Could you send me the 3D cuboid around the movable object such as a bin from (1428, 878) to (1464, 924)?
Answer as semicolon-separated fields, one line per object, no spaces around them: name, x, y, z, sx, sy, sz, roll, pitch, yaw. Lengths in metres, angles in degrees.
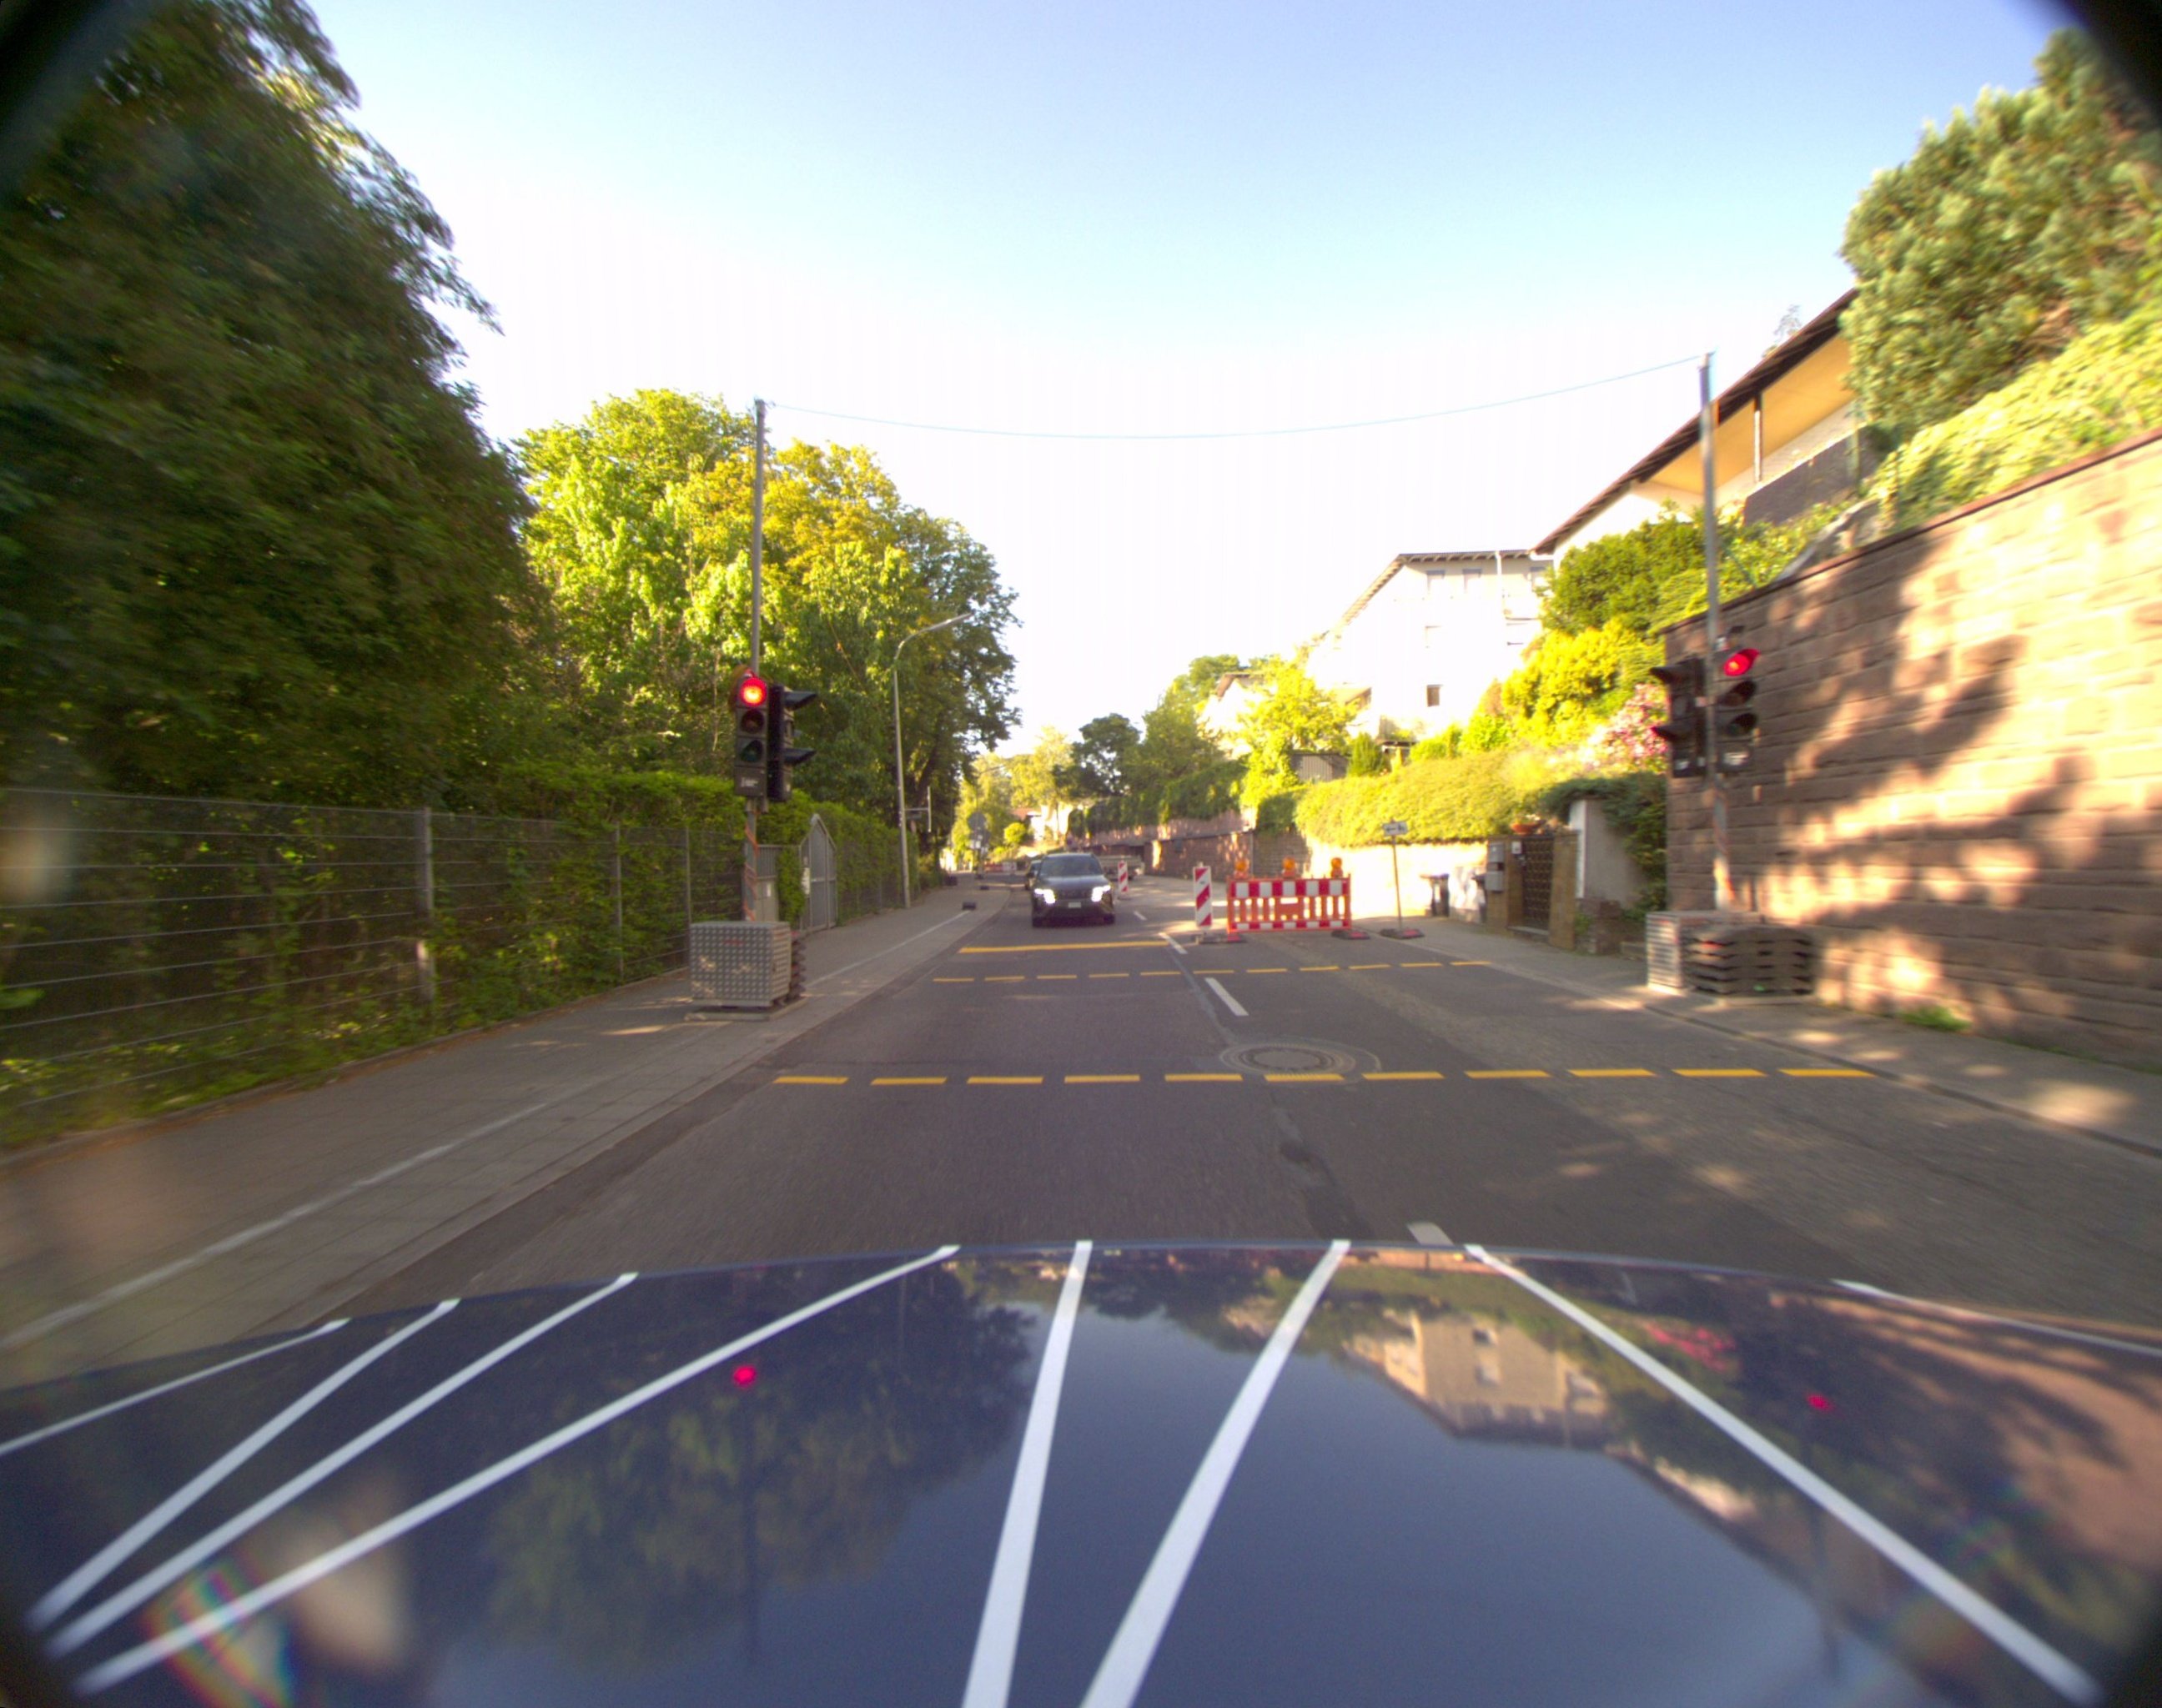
movable object such as a bin;7.381;0.936;15.373;0.457;0.879;0.500;-3;0;0

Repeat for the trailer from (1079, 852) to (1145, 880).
trailer;1.769;0.699;47.192;2.648;1.481;7.112;-3;0;-10

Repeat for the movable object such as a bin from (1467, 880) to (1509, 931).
movable object such as a bin;7.401;0.925;13.832;0.457;0.879;0.500;-3;0;0

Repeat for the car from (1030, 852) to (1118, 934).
car;-0.175;0.834;18.410;1.788;1.639;4.474;-3;0;-1

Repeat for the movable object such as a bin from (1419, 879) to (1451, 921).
movable object such as a bin;7.388;0.955;15.860;0.455;0.829;0.392;-2;1;0

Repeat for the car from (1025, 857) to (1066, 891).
car;-1.787;0.928;37.065;1.663;1.468;3.680;-3;1;-7
